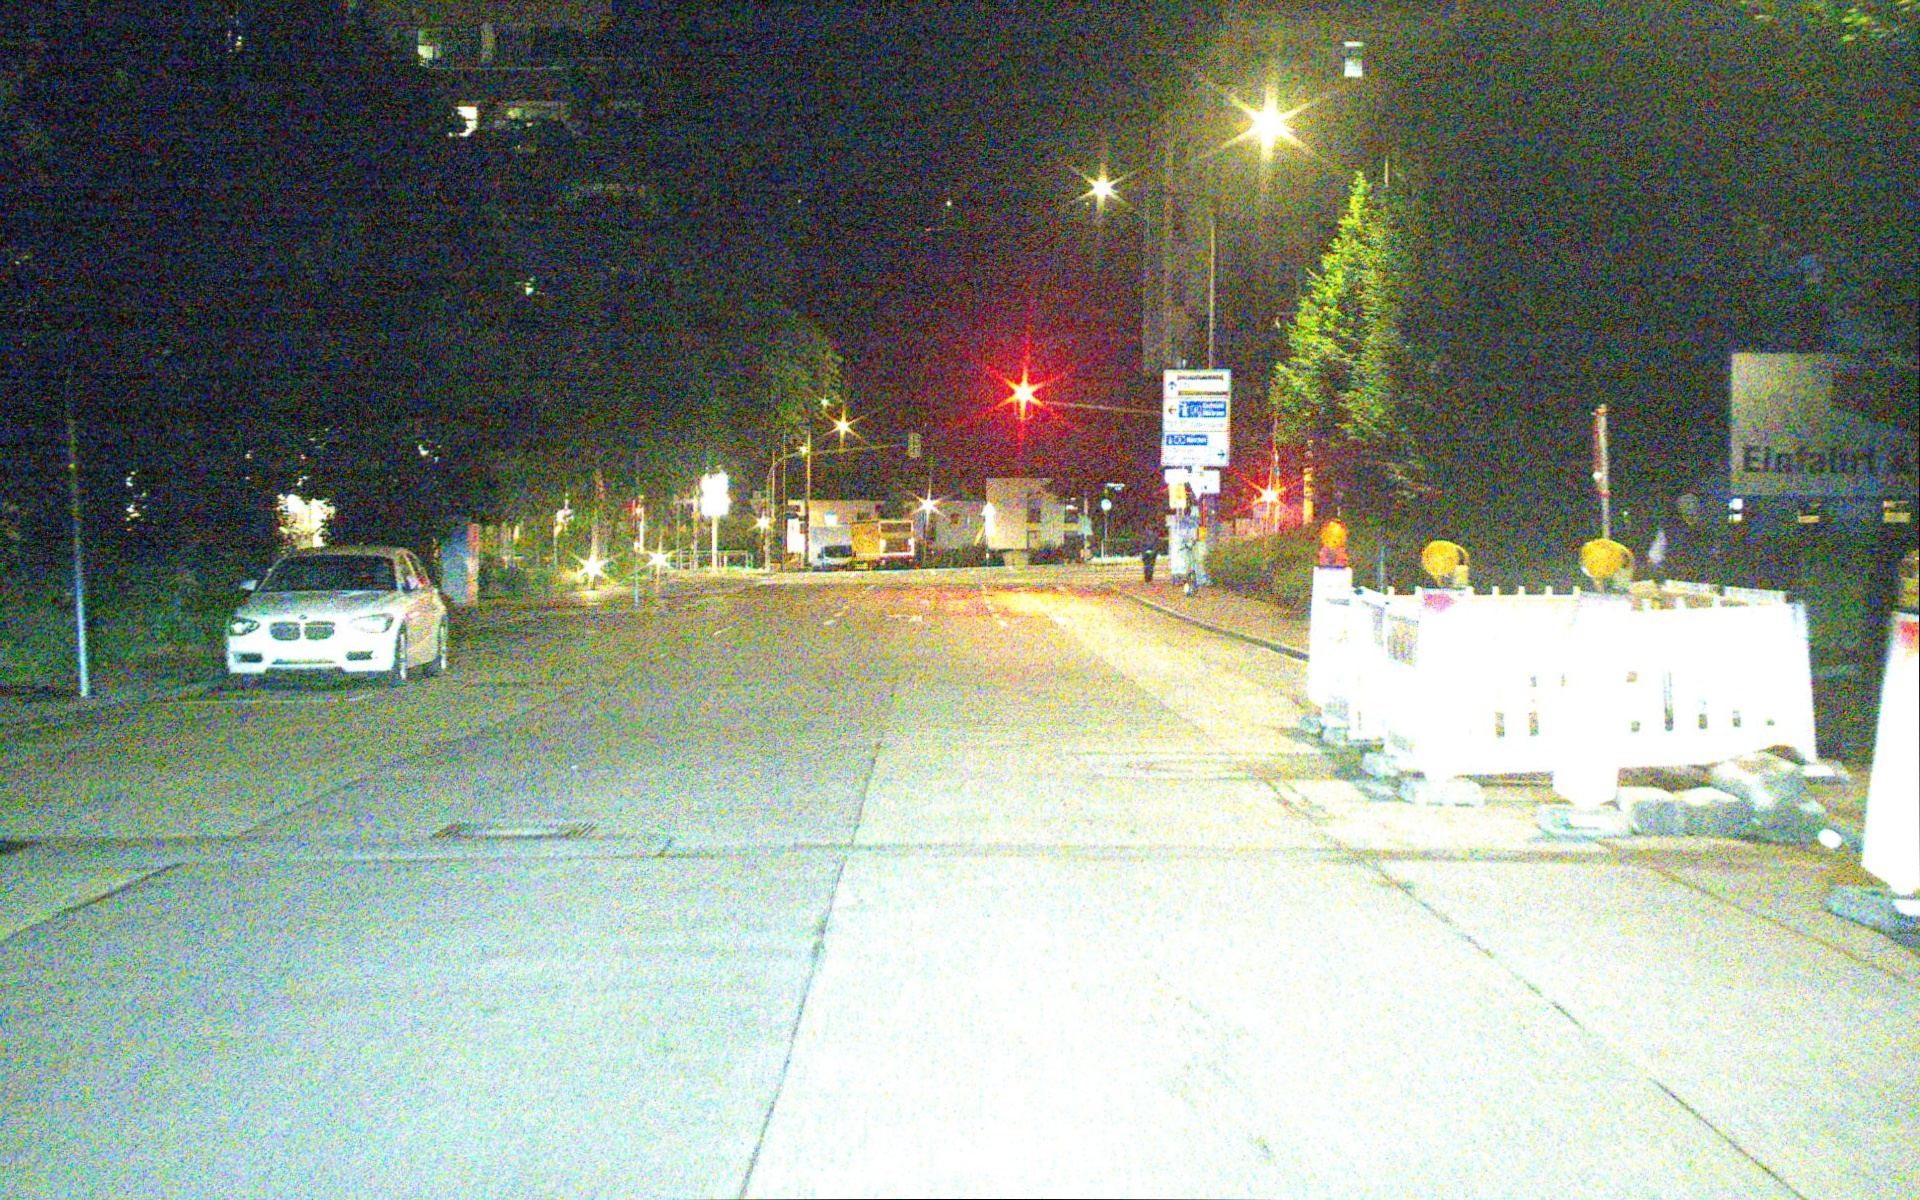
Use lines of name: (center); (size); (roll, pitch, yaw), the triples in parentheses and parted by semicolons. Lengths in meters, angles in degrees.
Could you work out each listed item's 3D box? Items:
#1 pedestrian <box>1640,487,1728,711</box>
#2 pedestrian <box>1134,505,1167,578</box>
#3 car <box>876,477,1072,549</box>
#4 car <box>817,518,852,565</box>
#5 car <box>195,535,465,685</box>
pedestrian: (6.067, -0.020, 28.816); (0.570, 1.846, 0.820); (0, 1, 1)
pedestrian: (5.231, -1.602, 94.260); (0.737, 1.975, 0.626); (-1, 1, -16)
car: (0.922, -5.824, 230.791); (12.380, 4.693, 4.811); (-1, 1, -13)
car: (-7.947, -3.728, 217.678); (1.993, 2.963, 4.001); (0, 1, -5)
car: (-6.428, 0.053, 35.518); (1.911, 1.399, 4.338); (-1, 1, 1)
